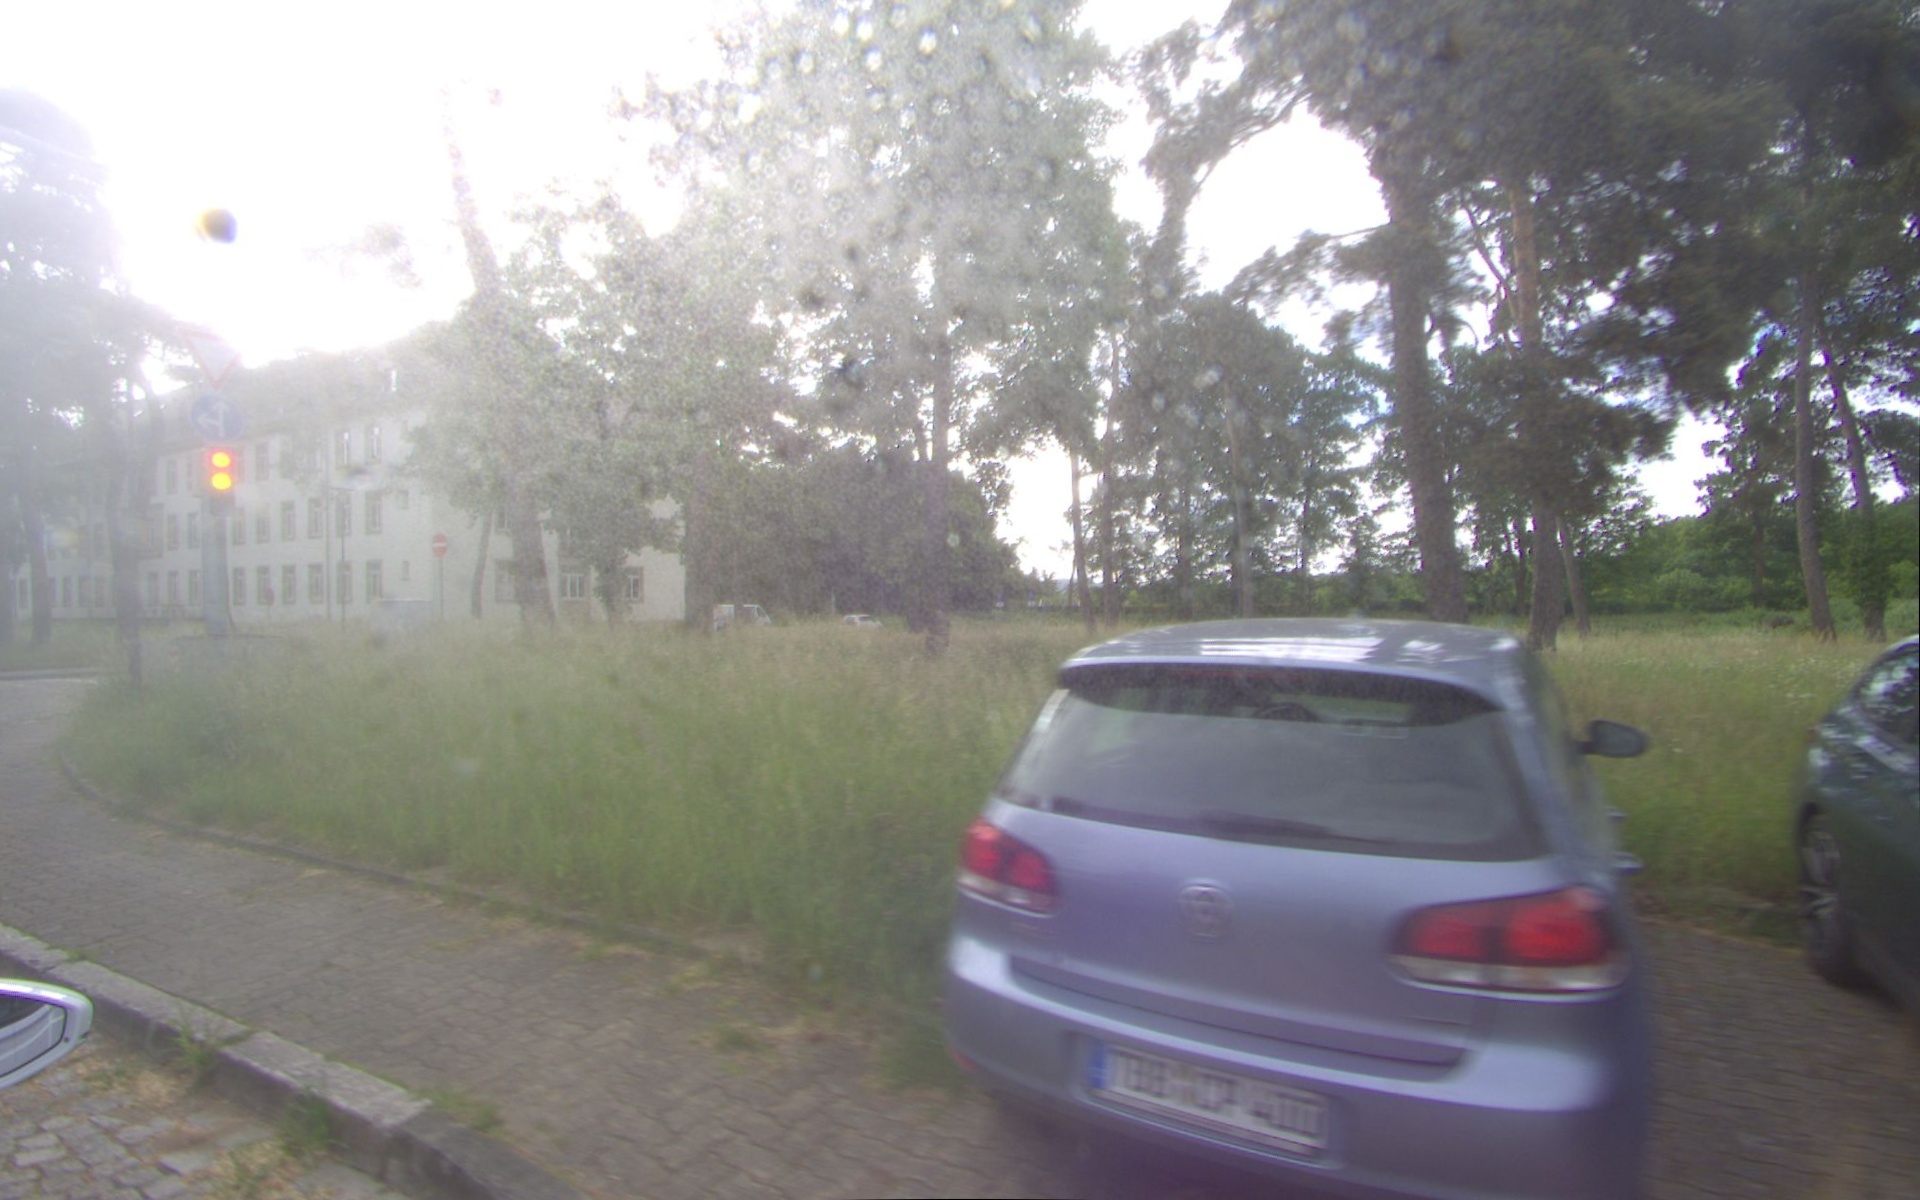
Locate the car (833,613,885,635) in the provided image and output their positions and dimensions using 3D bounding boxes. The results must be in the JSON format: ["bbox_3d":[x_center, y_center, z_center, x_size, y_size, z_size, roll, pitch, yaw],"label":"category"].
[{"bbox_3d":[-7.087,1.655,70.541,1.972,1.527,3.475,0,-1,32],"label":"car"}]

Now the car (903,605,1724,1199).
[{"bbox_3d":[1.493,0.767,3.635,1.582,1.446,3.756,0,1,31],"label":"car"}]

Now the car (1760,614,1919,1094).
[{"bbox_3d":[3.656,0.793,2.501,1.734,1.502,4.753,0,-1,28],"label":"car"}]

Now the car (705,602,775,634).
[{"bbox_3d":[-16.506,1.343,75.515,2.182,2.318,5.170,0,-1,33],"label":"car"}]
